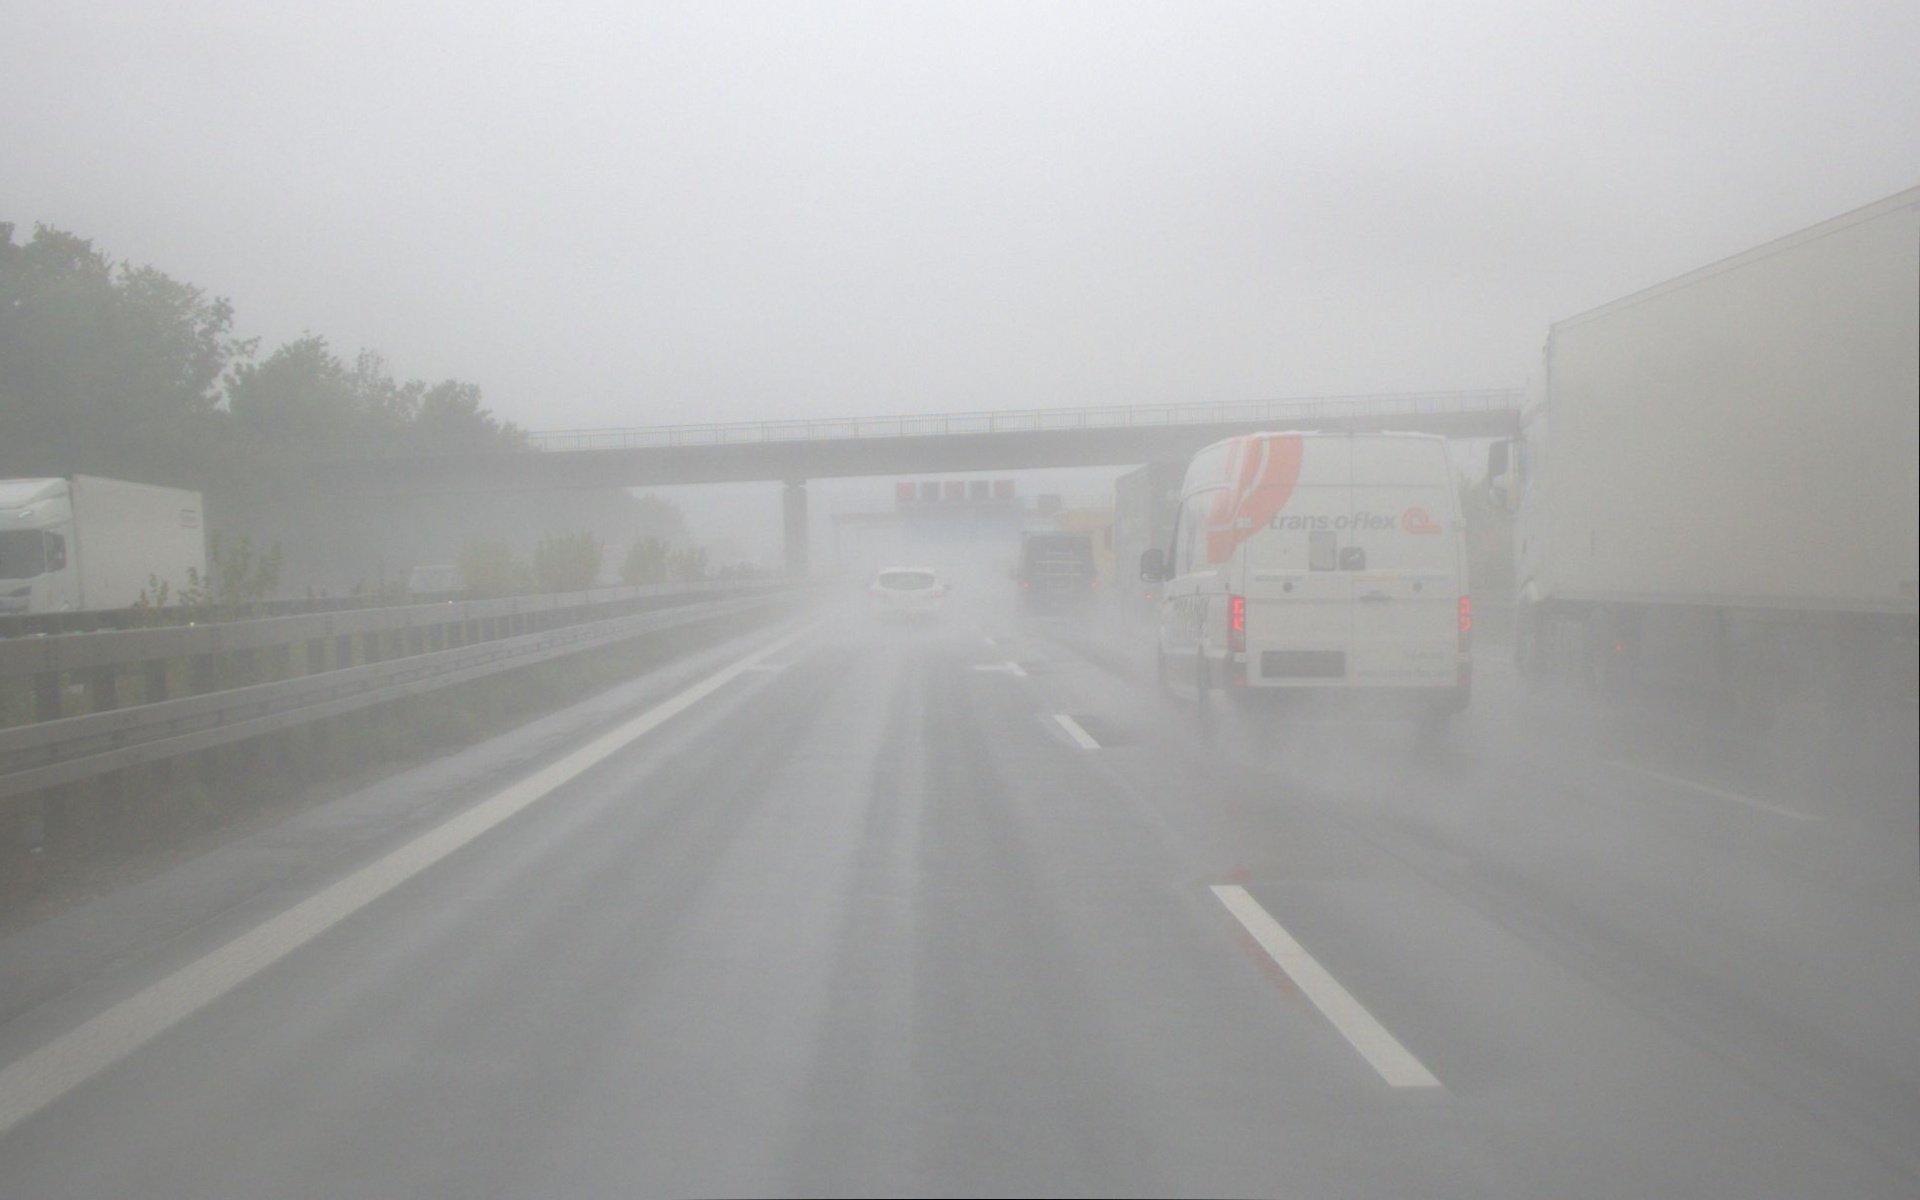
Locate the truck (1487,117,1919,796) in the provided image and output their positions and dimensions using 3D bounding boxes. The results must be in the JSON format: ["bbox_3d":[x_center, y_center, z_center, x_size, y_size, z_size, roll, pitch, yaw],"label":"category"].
[{"bbox_3d":[7.785,-1.101,31.248,3.039,4.572,16.352,1,1,-1],"label":"truck"}]

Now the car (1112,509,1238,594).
[{"bbox_3d":[5.405,-1.257,87.154,2.788,2.006,4.993,1,2,-1],"label":"car"}]

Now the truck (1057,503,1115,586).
[{"bbox_3d":[5.453,-2.442,149.334,2.109,3.504,5.248,1,2,-2],"label":"truck"}]

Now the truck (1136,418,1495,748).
[{"bbox_3d":[2.846,-0.221,28.948,2.419,2.484,5.560,1,2,0],"label":"truck"}]
